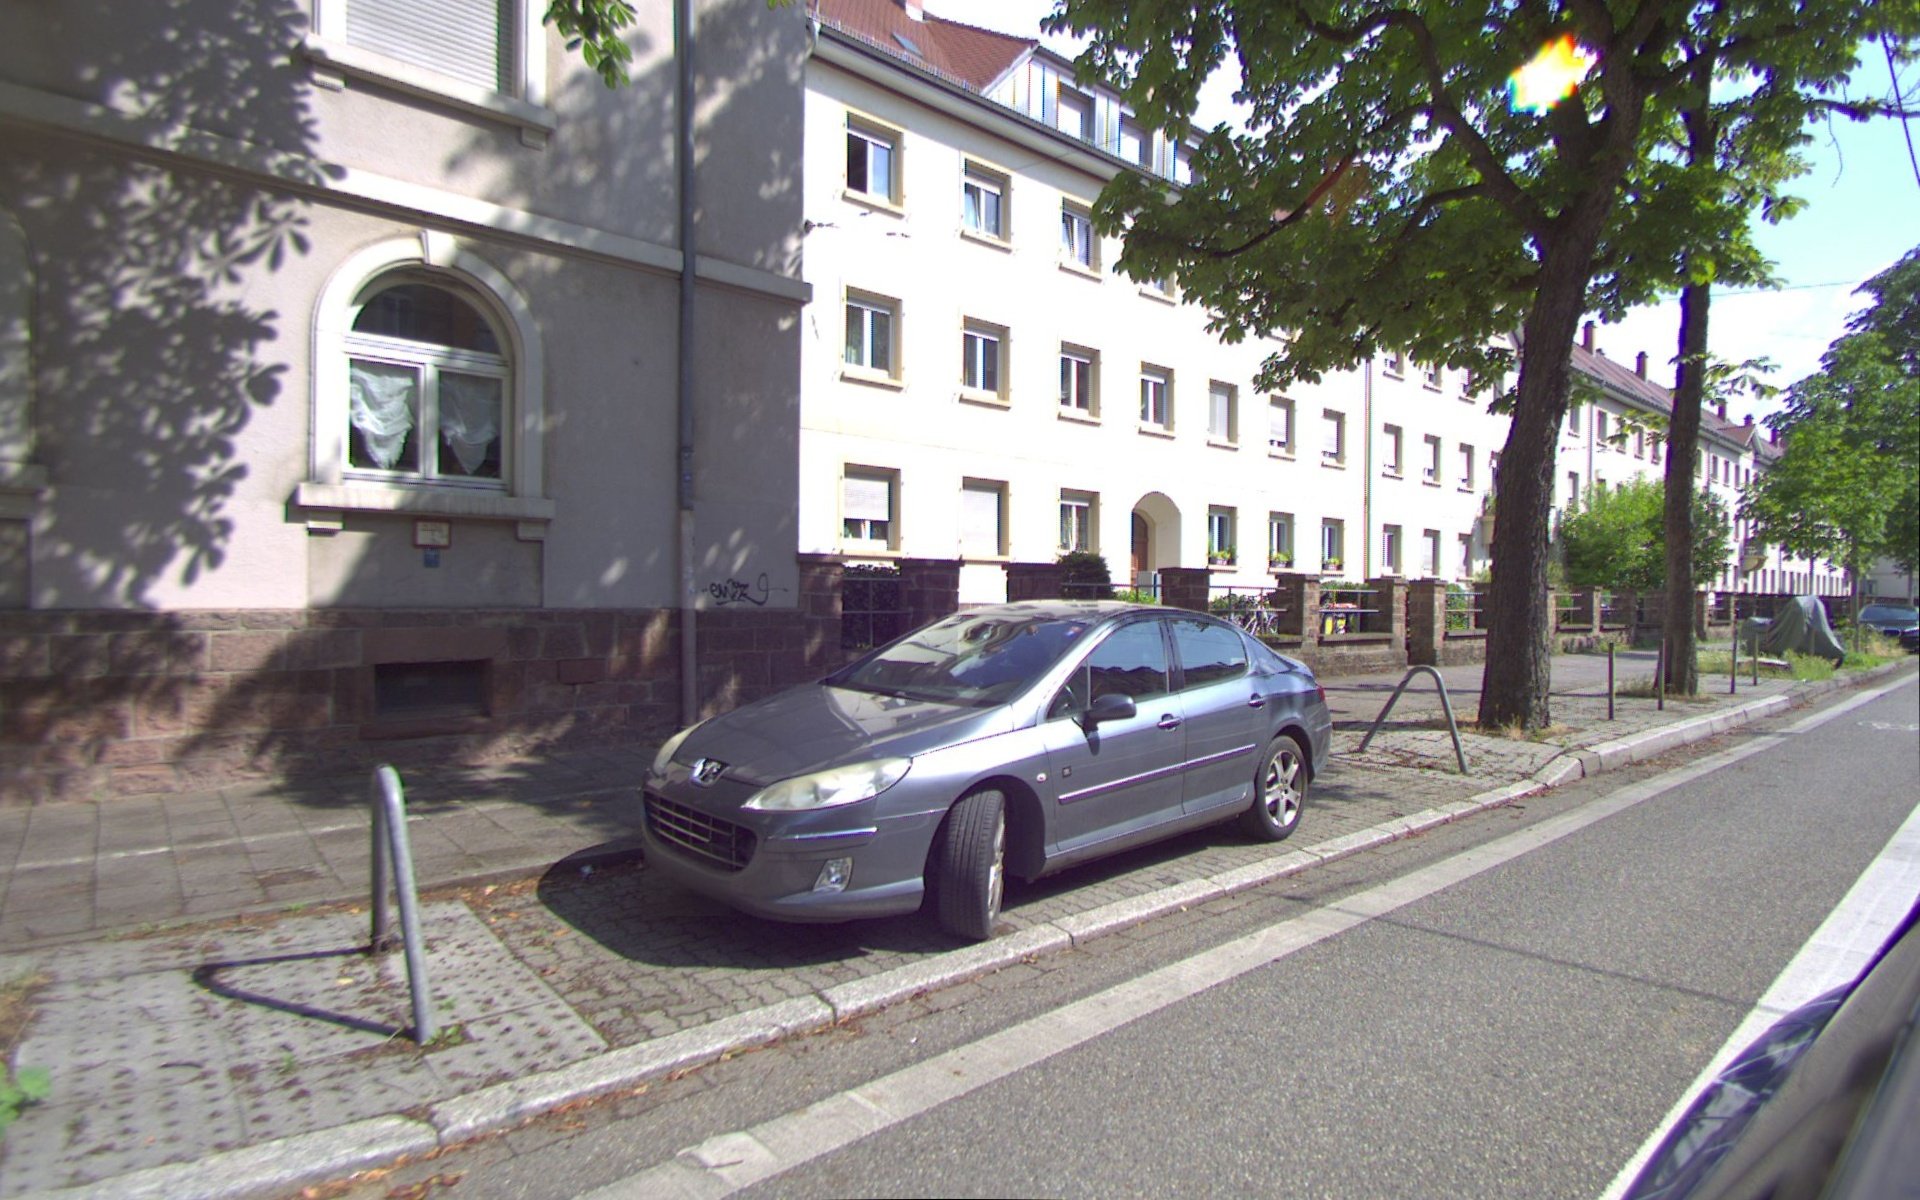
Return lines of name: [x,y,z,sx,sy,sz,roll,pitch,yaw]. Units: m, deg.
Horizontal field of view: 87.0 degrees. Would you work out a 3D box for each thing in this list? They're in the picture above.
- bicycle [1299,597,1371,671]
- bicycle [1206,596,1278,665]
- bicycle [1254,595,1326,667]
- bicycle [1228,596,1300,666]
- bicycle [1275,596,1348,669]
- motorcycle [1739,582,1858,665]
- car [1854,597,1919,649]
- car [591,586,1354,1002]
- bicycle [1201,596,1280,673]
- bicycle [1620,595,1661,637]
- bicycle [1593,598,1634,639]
bicycle: [6.454,0.559,17.390,1.674,1.227,0.413,0,0,-41]
bicycle: [5.202,0.539,18.632,1.674,1.227,0.413,0,0,-41]
bicycle: [5.899,0.533,18.038,1.674,1.227,0.413,0,0,-41]
bicycle: [5.520,0.541,18.331,1.674,1.227,0.413,0,0,-41]
bicycle: [6.157,0.551,17.689,1.674,1.227,0.413,0,0,-41]
motorcycle: [17.268,0.439,20.928,0.667,1.617,2.384,0,0,5]
car: [28.559,0.670,30.643,4.124,1.498,1.708,0,-2,-42]
car: [0.386,0.672,5.787,4.323,1.426,1.848,0,2,-44]
bicycle: [4.676,0.545,16.815,1.674,1.227,0.413,0,0,-41]
bicycle: [20.327,0.474,30.208,1.674,1.227,0.600,0,0,-41]
bicycle: [19.883,0.554,30.763,1.674,1.227,0.600,0,0,-41]
